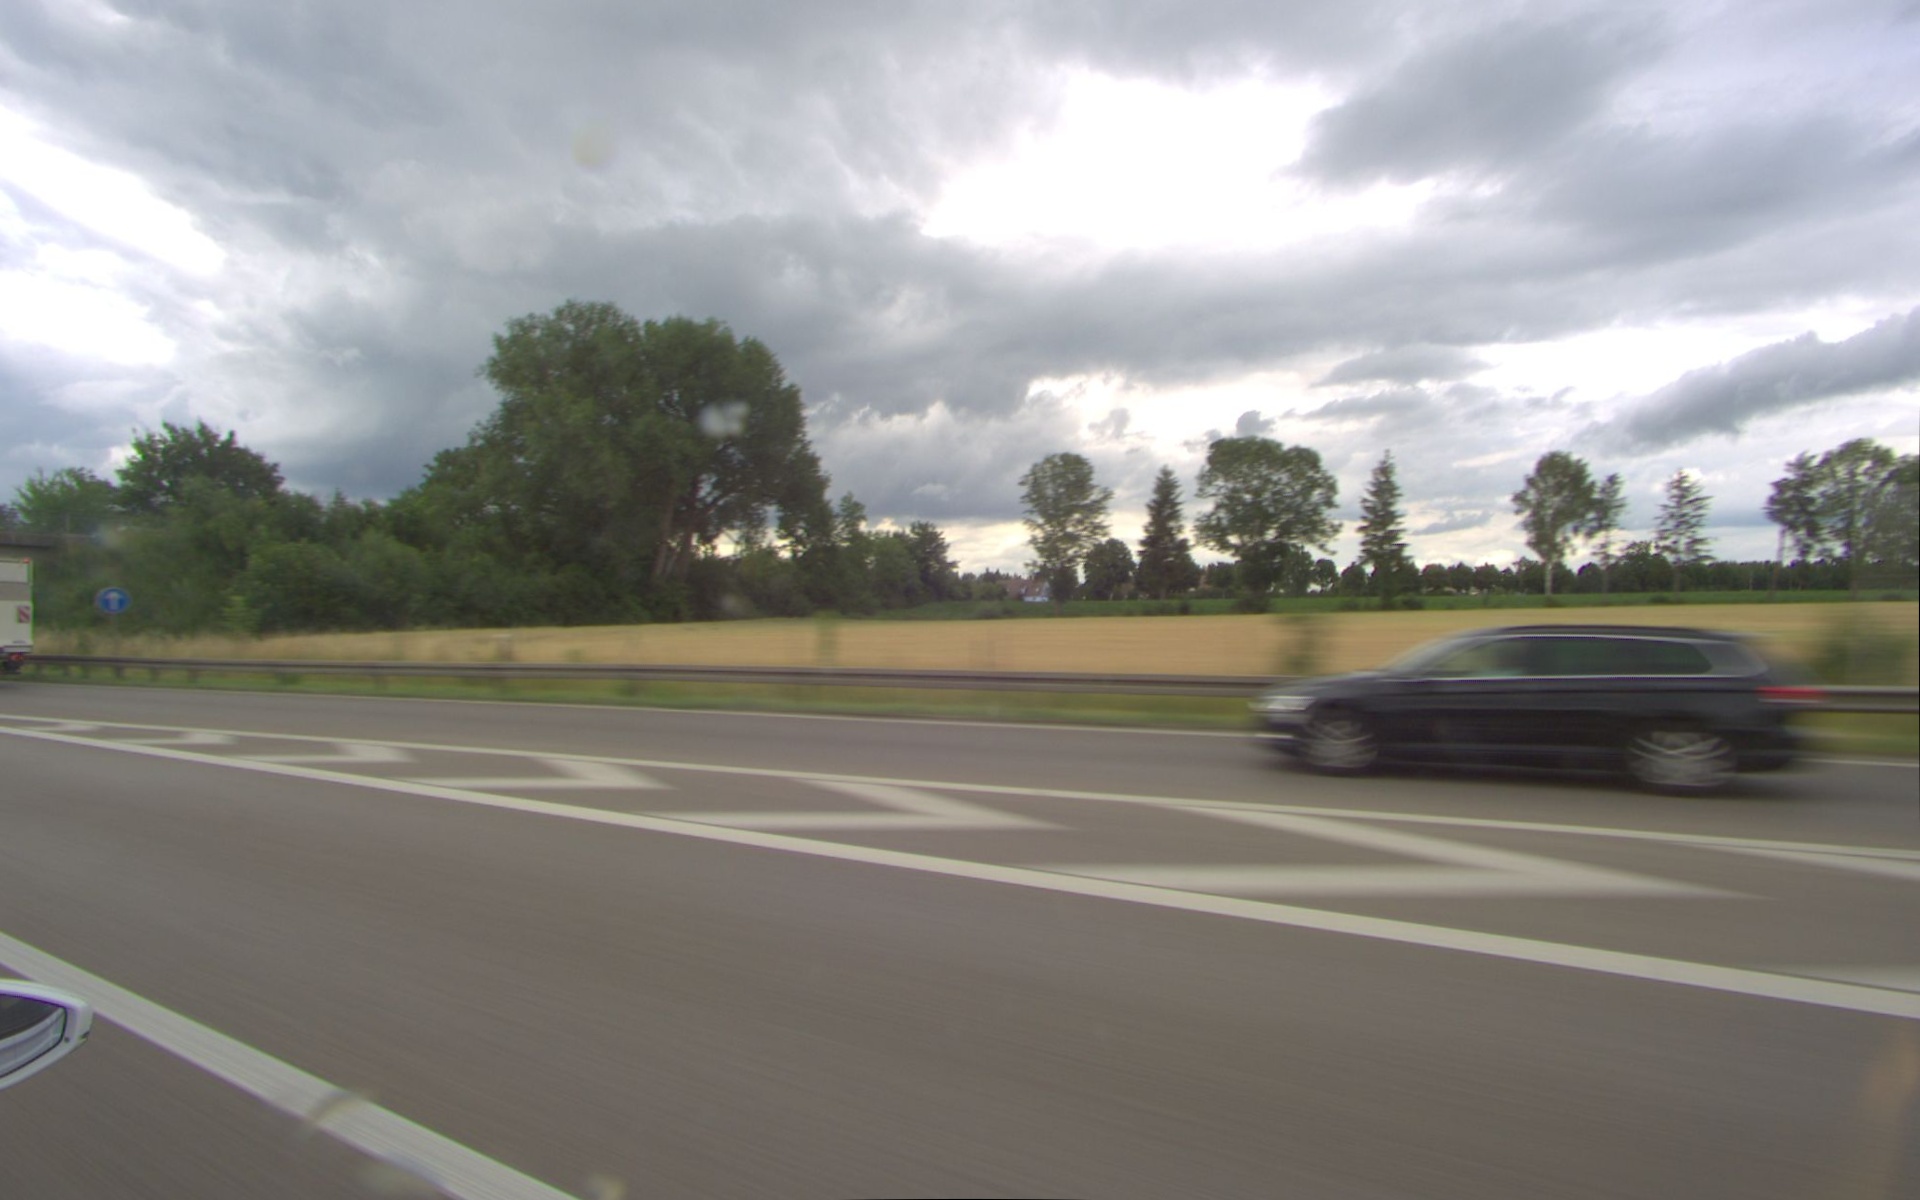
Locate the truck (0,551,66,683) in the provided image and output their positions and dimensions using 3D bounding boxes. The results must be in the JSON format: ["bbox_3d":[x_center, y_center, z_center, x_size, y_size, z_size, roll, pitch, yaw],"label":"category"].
[{"bbox_3d":[-29.362,0.517,28.584,8.758,3.514,3.102,-1,-2,30],"label":"truck"}]

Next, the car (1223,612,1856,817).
[{"bbox_3d":[5.198,0.938,9.716,4.844,1.571,1.917,-1,0,26],"label":"car"}]
